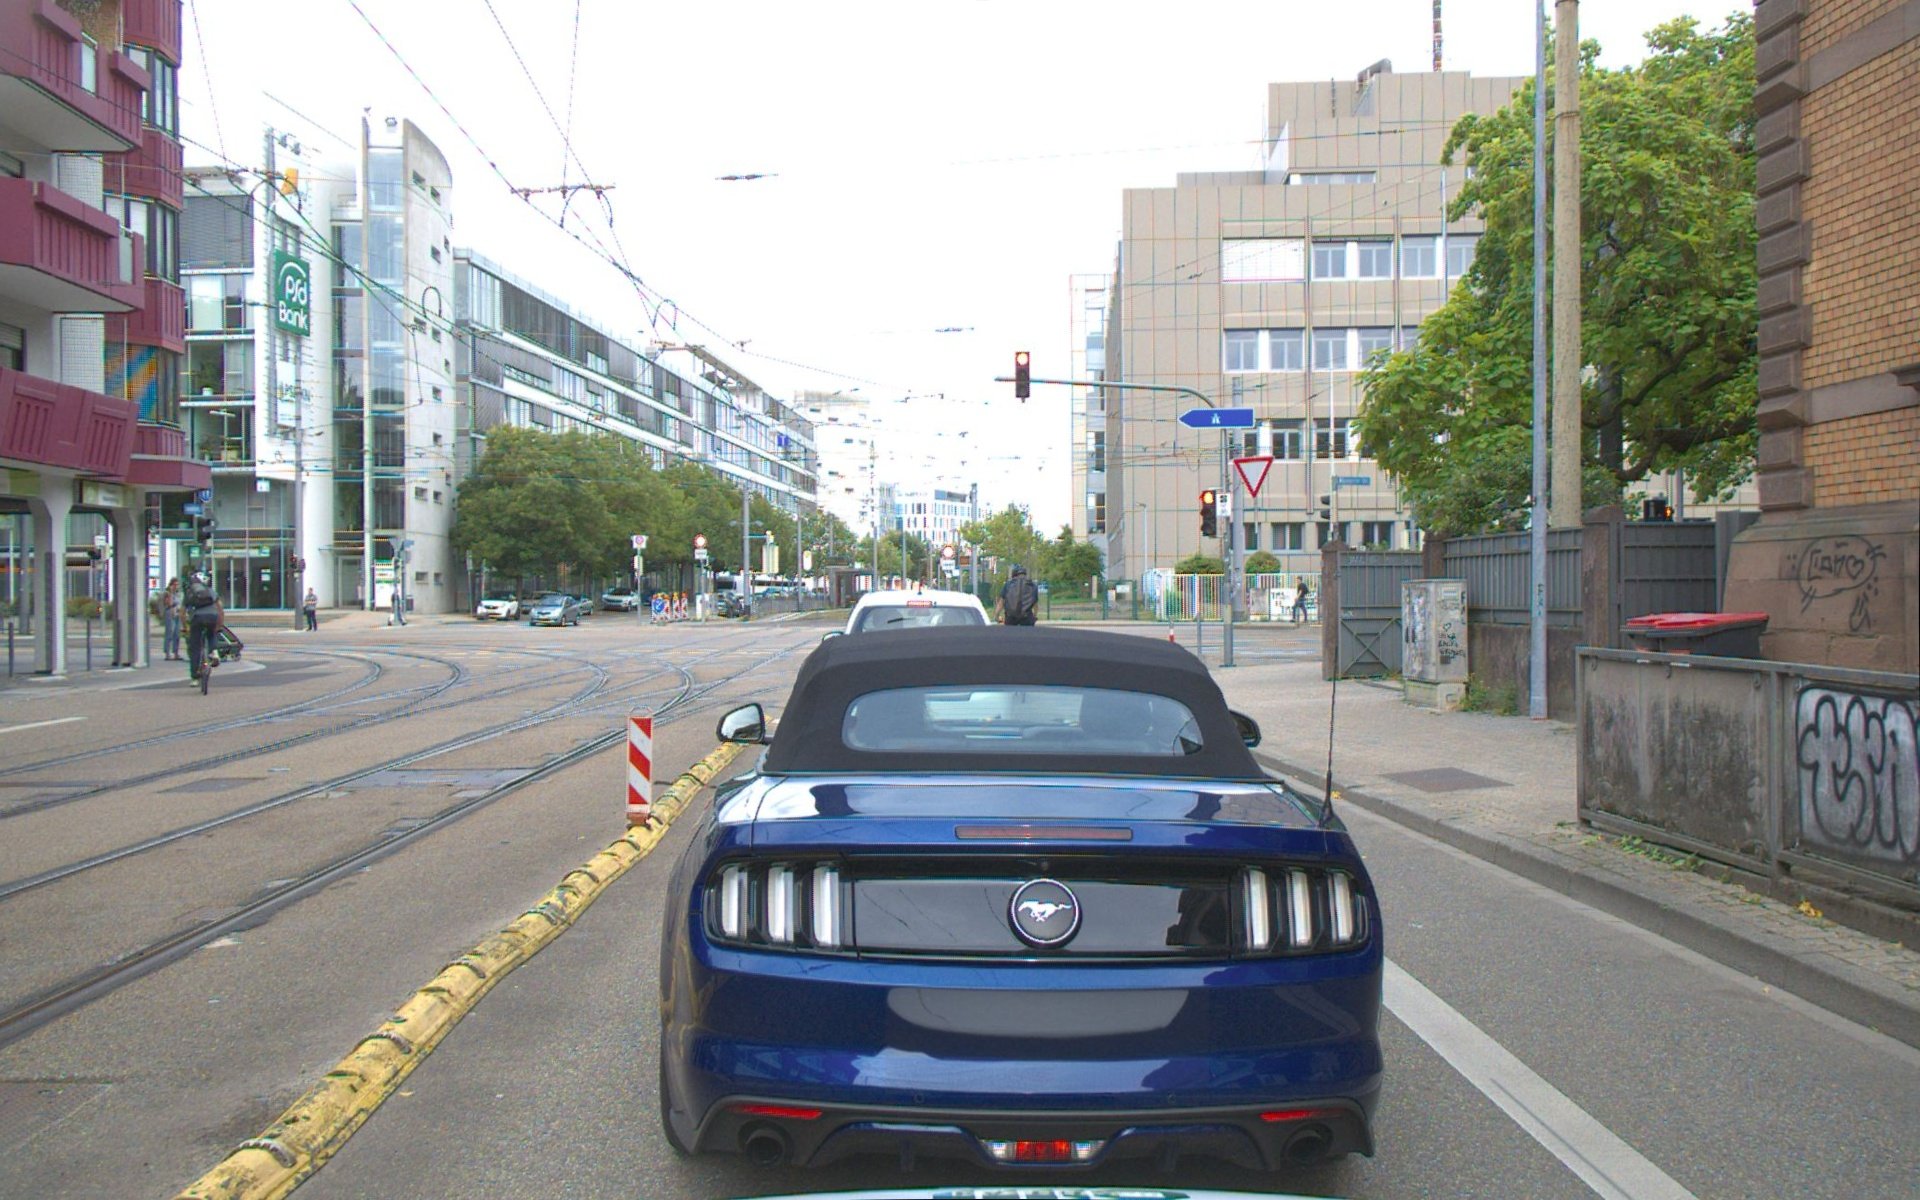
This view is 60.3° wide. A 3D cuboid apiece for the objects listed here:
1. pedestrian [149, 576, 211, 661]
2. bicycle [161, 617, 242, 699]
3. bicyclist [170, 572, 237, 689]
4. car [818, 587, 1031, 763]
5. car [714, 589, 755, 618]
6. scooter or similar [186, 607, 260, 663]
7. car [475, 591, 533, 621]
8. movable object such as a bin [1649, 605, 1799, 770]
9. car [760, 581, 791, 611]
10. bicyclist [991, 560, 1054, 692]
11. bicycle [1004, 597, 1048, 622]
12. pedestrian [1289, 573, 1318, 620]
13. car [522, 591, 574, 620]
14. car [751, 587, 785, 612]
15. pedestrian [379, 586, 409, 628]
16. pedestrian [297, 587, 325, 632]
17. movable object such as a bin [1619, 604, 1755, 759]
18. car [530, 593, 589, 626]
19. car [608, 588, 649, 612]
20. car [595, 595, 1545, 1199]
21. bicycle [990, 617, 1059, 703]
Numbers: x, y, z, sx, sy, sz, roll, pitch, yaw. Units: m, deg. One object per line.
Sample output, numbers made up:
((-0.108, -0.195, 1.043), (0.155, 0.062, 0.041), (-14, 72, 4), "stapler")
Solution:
((-16.433, 0.384, 34.875), (0.929, 1.774, 0.811), (0, 0, -4), "pedestrian")
((-11.170, 0.824, 24.430), (0.750, 1.105, 2.350), (-1, 0, -17), "bicycle")
((-11.171, 0.429, 24.445), (0.738, 1.680, 1.051), (-1, 0, -17), "bicyclist")
((-0.470, 0.624, 16.171), (1.799, 1.464, 4.183), (-1, 0, -5), "car")
((-13.214, 0.188, 97.053), (1.841, 1.657, 4.086), (-1, 0, -1), "car")
((-15.565, 0.732, 34.962), (1.172, 1.148, 0.946), (0, 0, -3), "scooter or similar")
((-24.927, 0.305, 90.600), (1.791, 1.584, 4.218), (1, 1, 3), "car")
((5.498, 0.613, 11.934), (0.650, 1.101, 0.700), (-4, 0, -6), "movable object such as a bin")
((-12.905, -0.309, 115.758), (1.749, 2.022, 4.120), (-1, 0, -1), "car")
((0.874, 0.357, 23.467), (0.780, 1.816, 1.232), (-1, 0, -3), "bicyclist")
((2.887, 0.429, 72.763), (0.629, 0.998, 2.125), (-1, -2, -42), "bicycle")
((14.152, -0.156, 68.161), (1.063, 1.931, 0.902), (-1, 0, 4), "pedestrian")
((-24.314, 0.310, 97.782), (1.791, 1.584, 4.218), (1, 1, 3), "car")
((-12.847, -0.040, 110.711), (1.830, 1.634, 4.212), (-1, 0, -1), "car")
((-26.232, 0.315, 76.657), (0.968, 1.888, 0.902), (-1, 0, 6), "pedestrian")
((-28.128, 0.403, 71.706), (0.816, 1.897, 0.766), (-1, 0, 11), "pedestrian")
((5.545, 0.606, 12.651), (0.638, 1.101, 0.677), (-4, 0, -6), "movable object such as a bin")
((-19.993, 0.465, 82.718), (1.633, 1.533, 4.236), (1, 1, 3), "car")
((-23.225, -0.045, 115.995), (1.945, 1.584, 4.513), (1, 1, 0), "car")
((0.199, 0.720, 5.366), (1.838, 1.428, 4.282), (1, 0, -1), "car")
((0.888, 0.820, 23.296), (0.784, 1.105, 2.130), (-1, 0, -3), "bicycle")
